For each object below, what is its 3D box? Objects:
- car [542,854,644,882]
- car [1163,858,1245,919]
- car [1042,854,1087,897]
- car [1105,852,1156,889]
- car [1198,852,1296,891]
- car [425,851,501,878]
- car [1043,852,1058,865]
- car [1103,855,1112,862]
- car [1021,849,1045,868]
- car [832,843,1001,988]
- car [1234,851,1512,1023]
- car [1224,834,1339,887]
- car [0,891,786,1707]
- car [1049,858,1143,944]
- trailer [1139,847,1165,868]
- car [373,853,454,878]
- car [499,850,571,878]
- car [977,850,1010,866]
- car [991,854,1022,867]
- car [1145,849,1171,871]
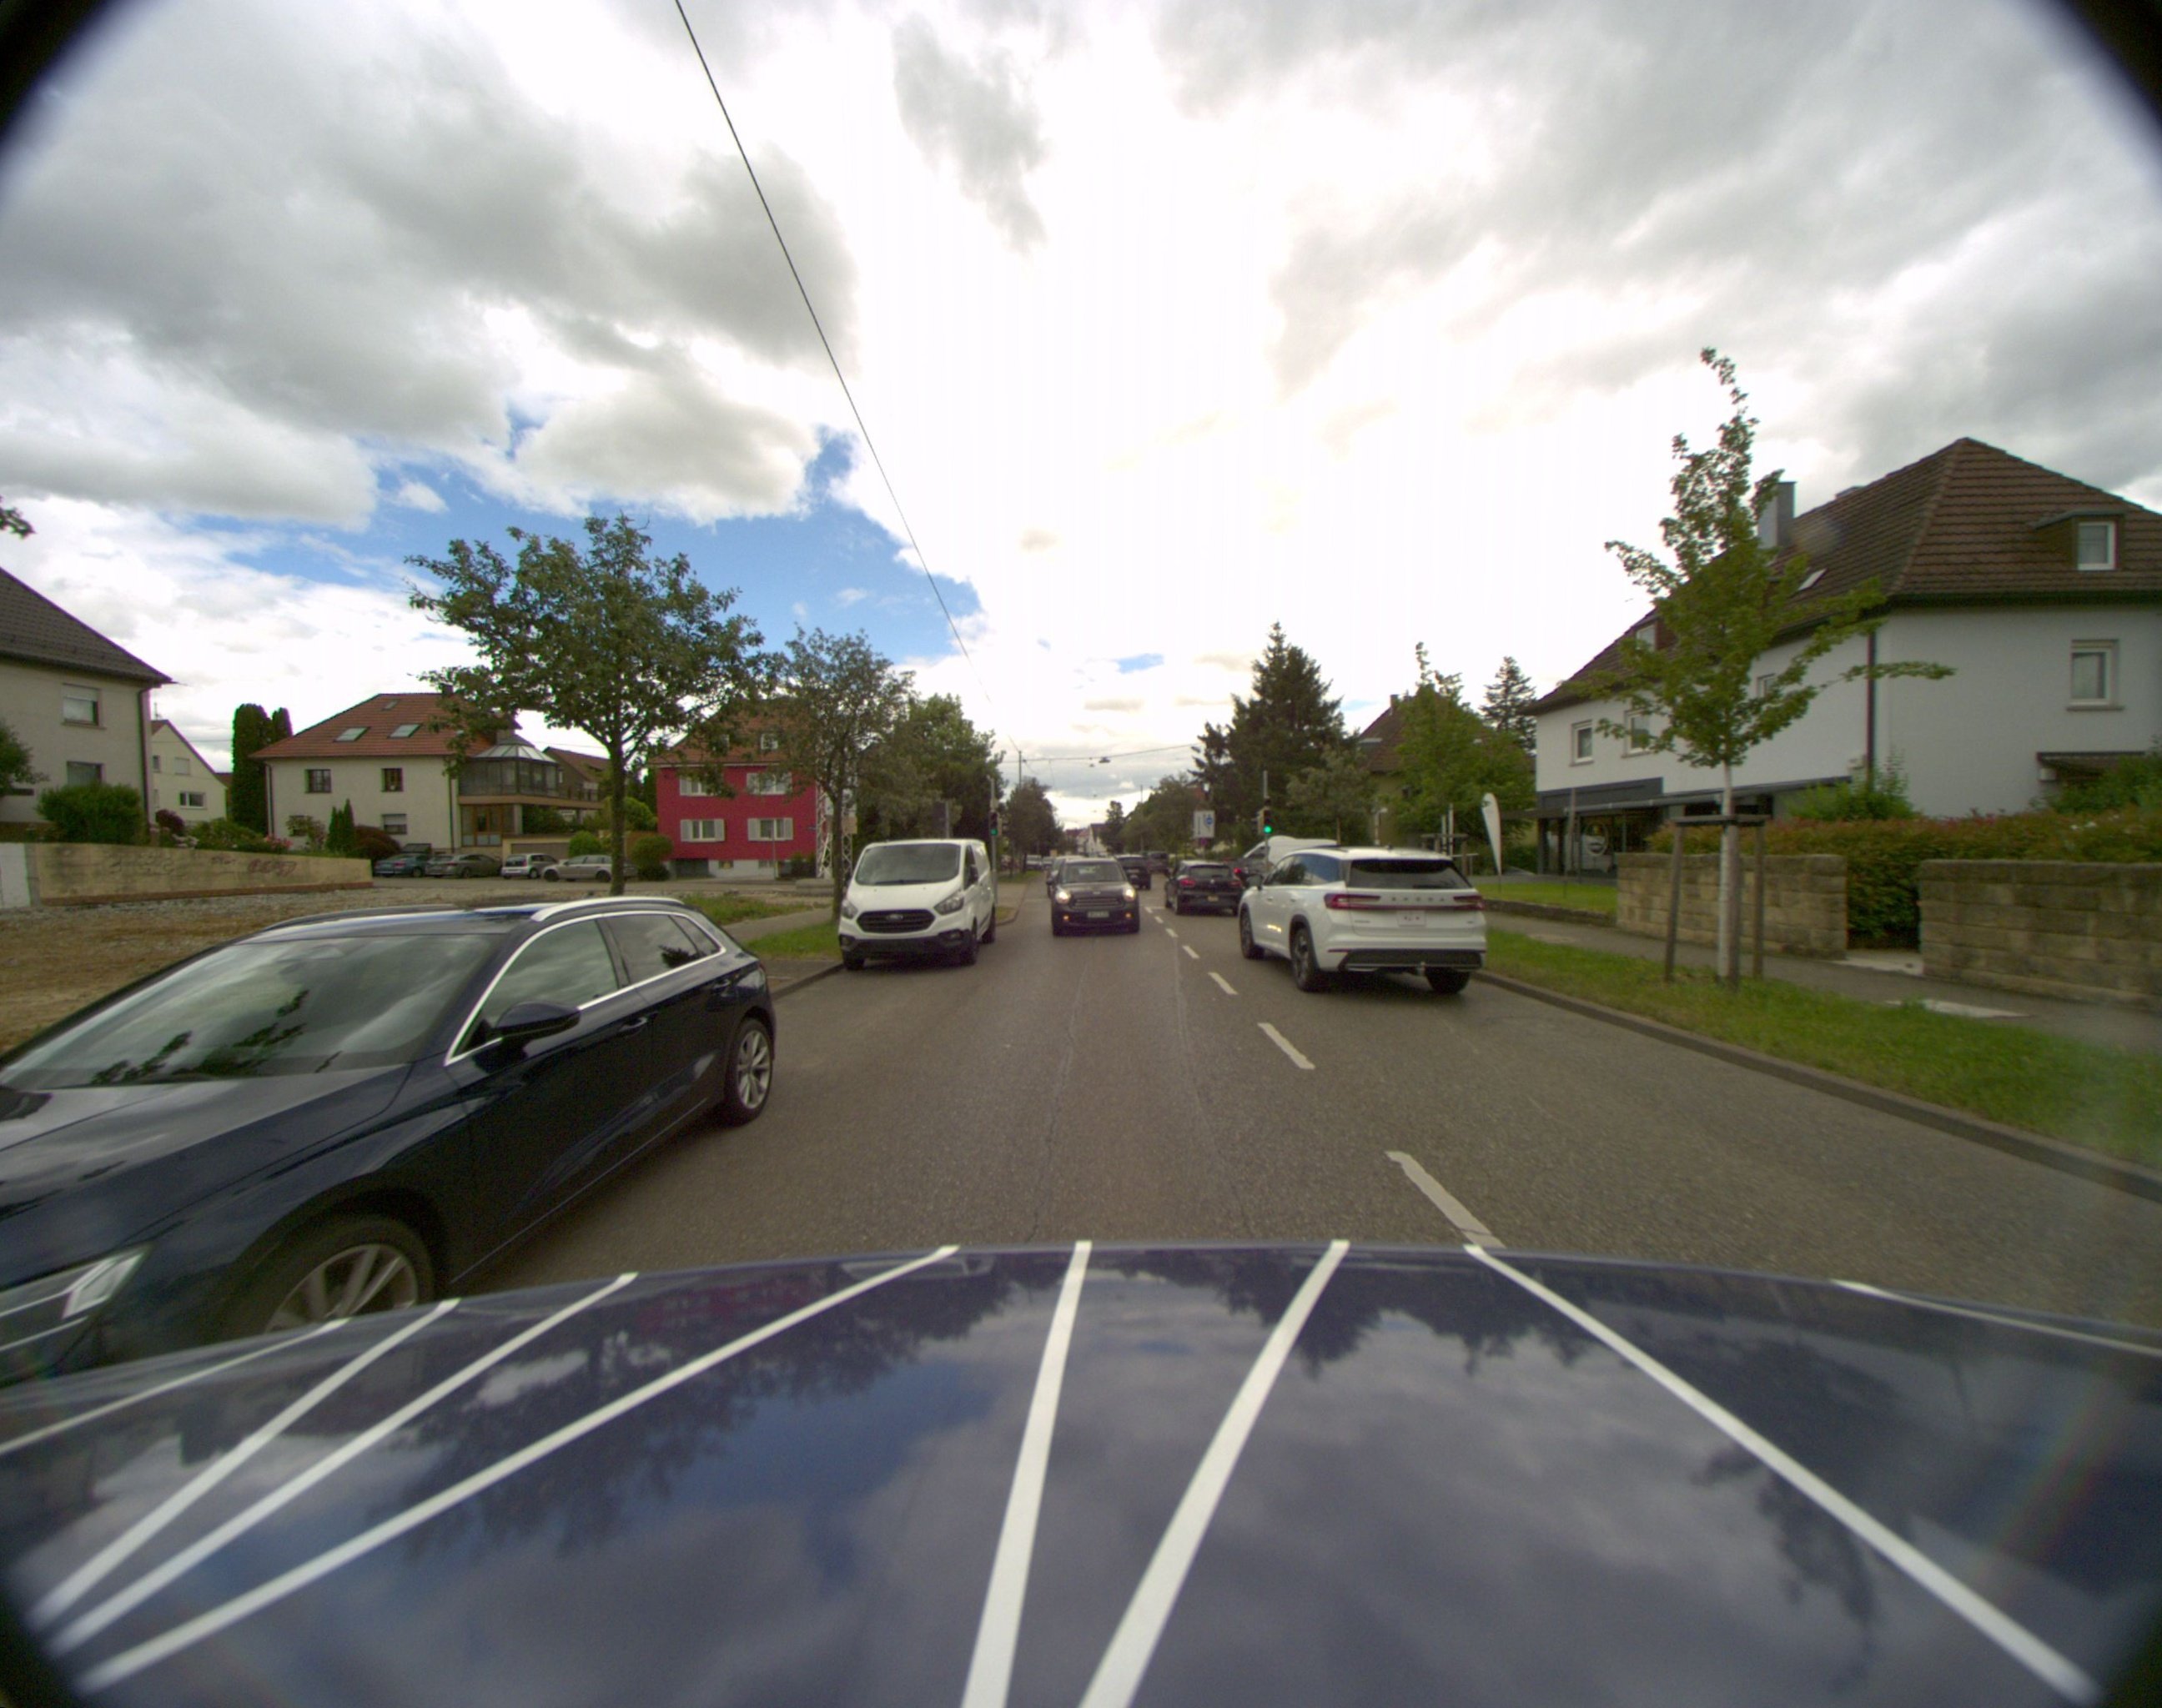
[{"bbox_3d":[-25.969,0.749,40.522,4.231,1.416,1.760,1,-1,-1],"label":"car"},{"bbox_3d":[3.271,0.867,20.870,1.620,1.463,4.000,0,0,1],"label":"car"},{"bbox_3d":[-0.597,0.810,30.321,1.590,1.598,3.685,-1,0,2],"label":"car"},{"bbox_3d":[2.232,0.728,35.330,1.900,1.615,3.999,0,0,-3],"label":"car"},{"bbox_3d":[7.508,0.742,34.097,4.657,1.611,1.994,-1,0,-44],"label":"car"},{"bbox_3d":[-36.350,0.572,44.806,1.621,1.459,3.501,-3,1,-1],"label":"car"},{"bbox_3d":[-3.701,0.566,92.806,1.728,1.582,4.156,1,0,-1],"label":"car"},{"bbox_3d":[5.969,1.017,171.671,1.825,1.594,4.299,-4,0,3],"label":"car"},{"bbox_3d":[-4.755,0.412,75.576,1.902,1.826,4.915,0,0,2],"label":"car"},{"bbox_3d":[-2.519,0.836,12.856,1.779,1.932,4.788,-2,0,0],"label":"car"},{"bbox_3d":[3.330,0.812,9.733,1.818,1.683,4.465,0,0,0],"label":"car"},{"bbox_3d":[10.447,0.283,39.645,5.611,2.549,2.133,1,2,17],"label":"car"},{"bbox_3d":[-2.850,1.039,3.080,1.669,1.507,4.220,-2,0,-1],"label":"car"},{"bbox_3d":[0.347,0.914,16.455,1.743,1.573,3.685,-2,0,2],"label":"car"},{"bbox_3d":[7.147,0.365,76.610,2.160,2.076,4.425,-1,0,0],"label":"trailer"},{"bbox_3d":[-39.126,0.628,44.633,1.621,1.316,3.501,-3,1,-1],"label":"car"},{"bbox_3d":[-31.853,0.545,44.434,1.621,1.531,3.501,-3,1,-1],"label":"car"},{"bbox_3d":[-9.297,0.401,80.757,3.361,1.624,1.579,2,0,-3],"label":"car"},{"bbox_3d":[-8.205,0.697,84.118,3.362,1.450,1.748,0,0,-6],"label":"car"},{"bbox_3d":[7.006,0.538,69.579,1.998,1.938,4.898,-1,0,1],"label":"car"}]
